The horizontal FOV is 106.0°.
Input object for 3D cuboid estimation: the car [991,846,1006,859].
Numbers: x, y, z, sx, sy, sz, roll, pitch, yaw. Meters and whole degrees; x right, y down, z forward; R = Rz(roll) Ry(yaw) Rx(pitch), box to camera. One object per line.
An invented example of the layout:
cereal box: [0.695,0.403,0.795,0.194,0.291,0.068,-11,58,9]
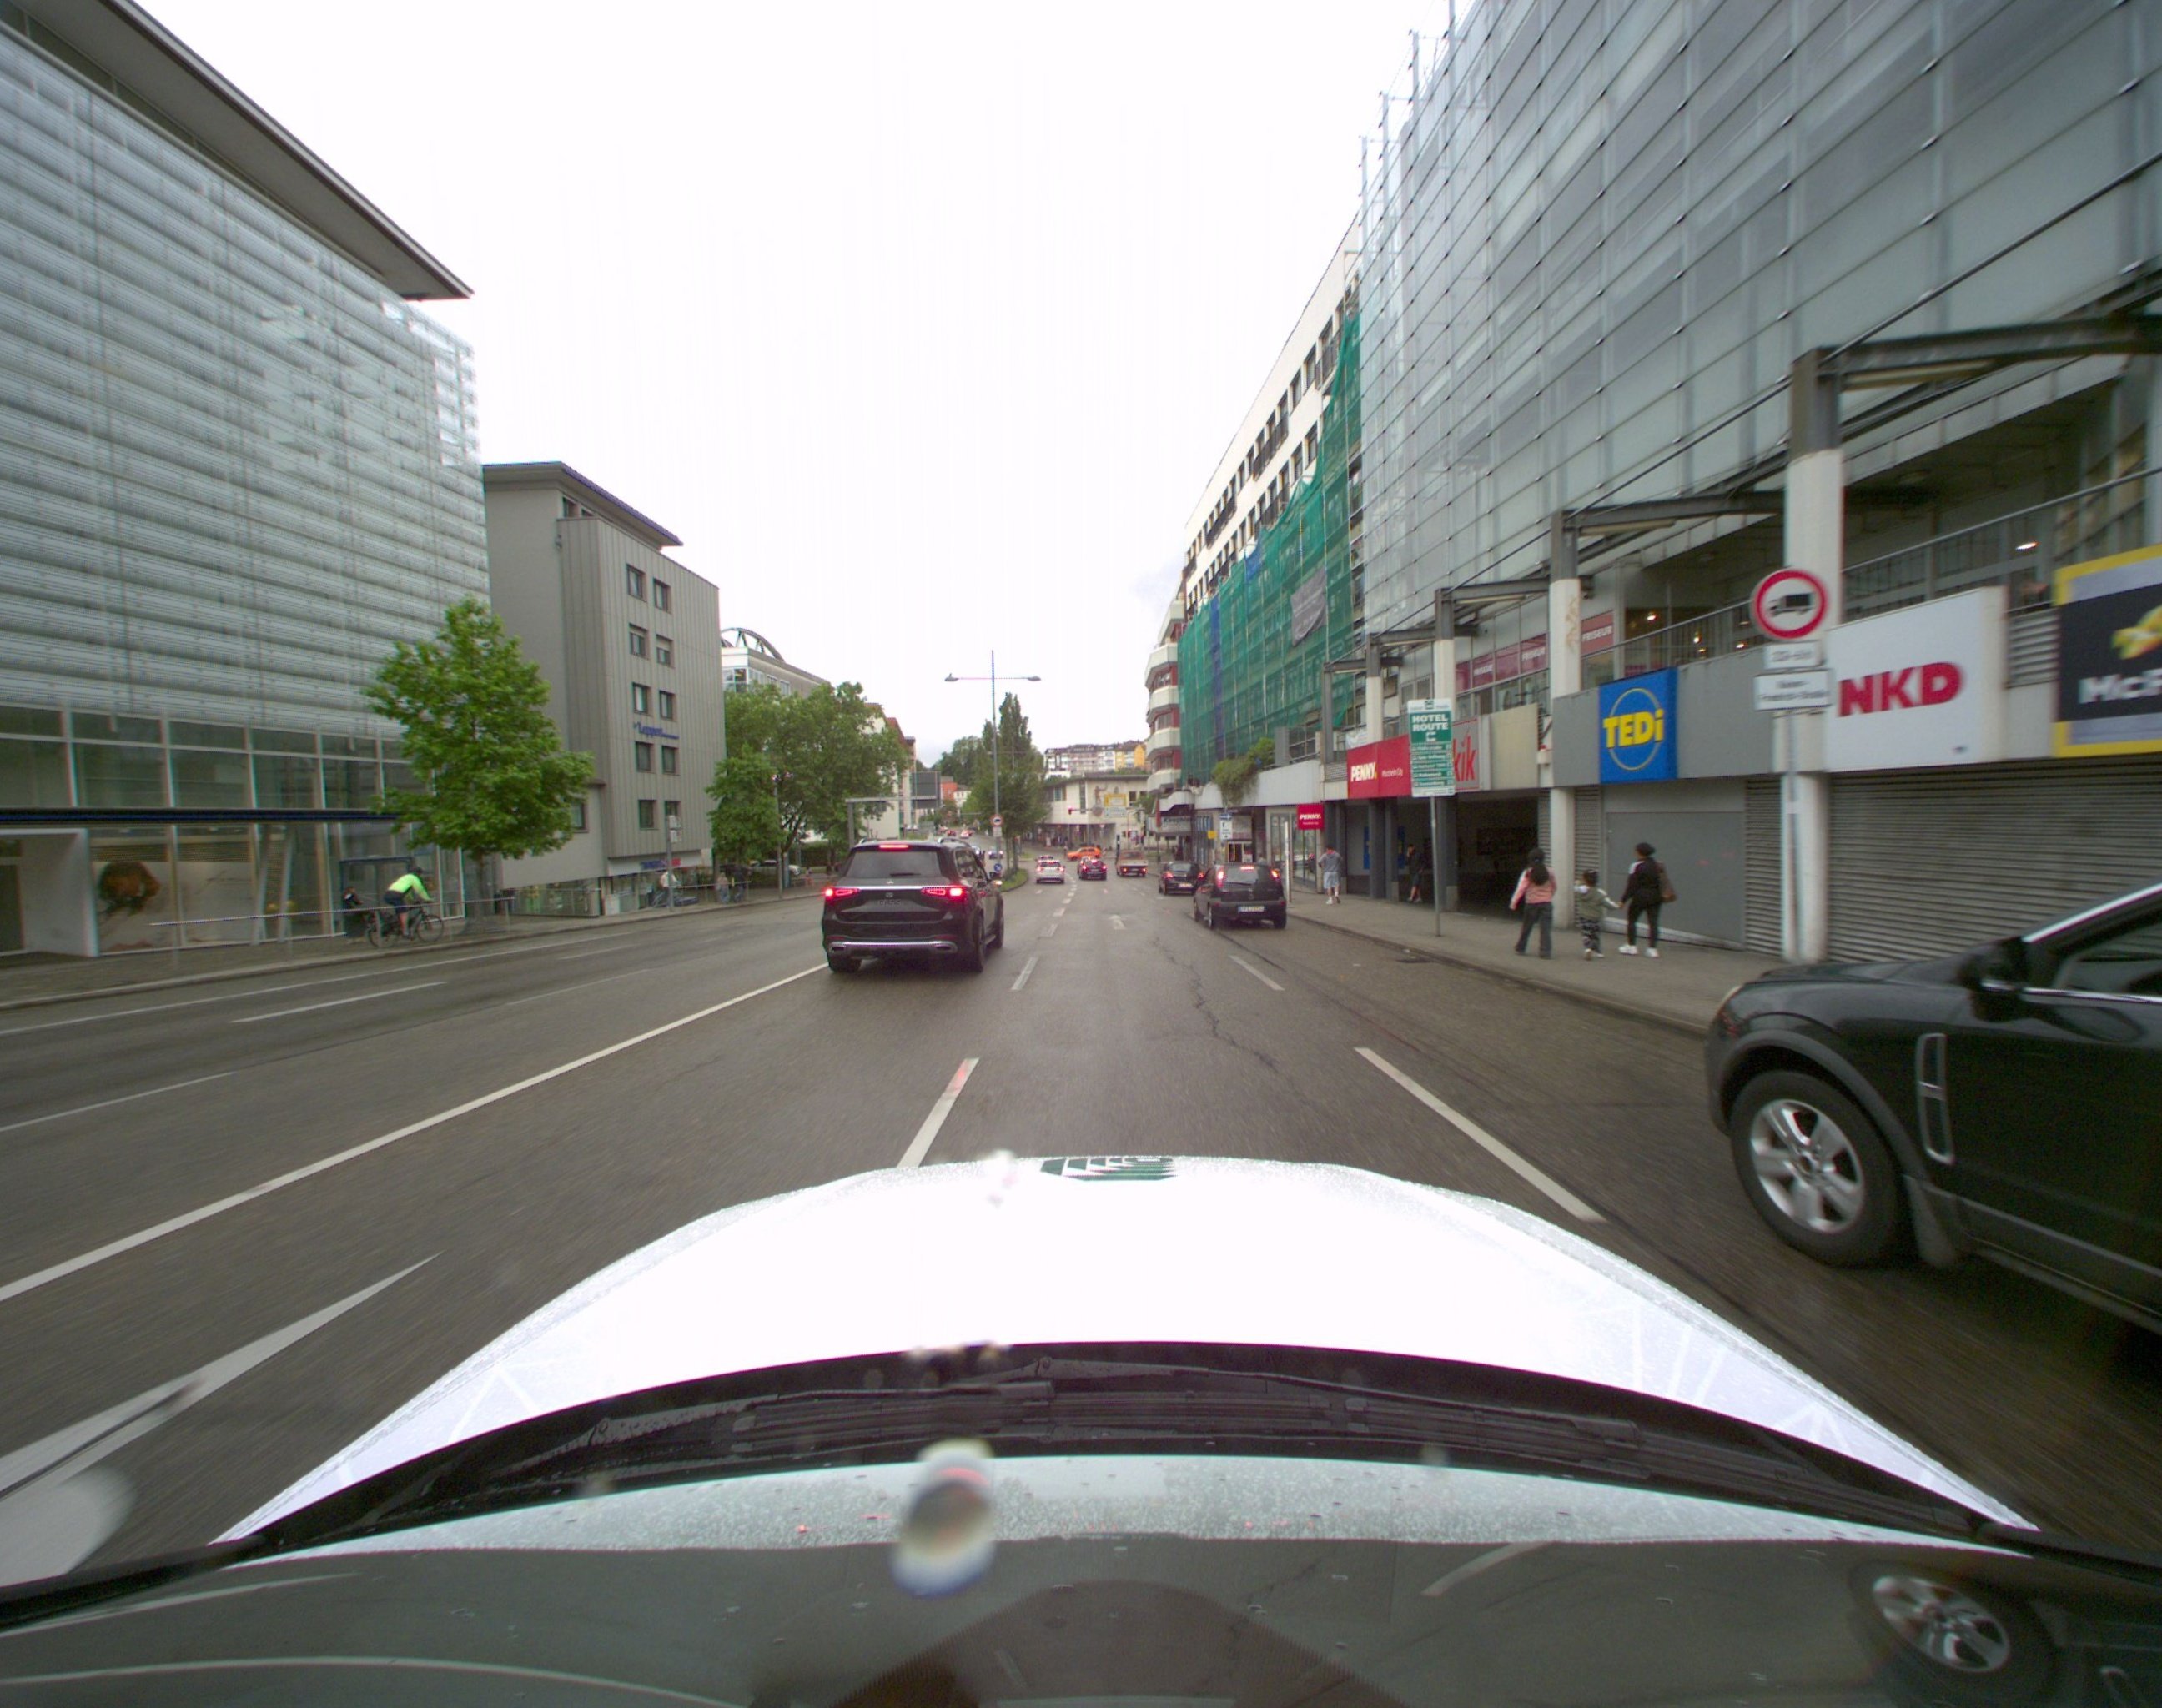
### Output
car: [-10.293,-0.172,101.784,1.817,1.549,3.993,-2,0,-5]

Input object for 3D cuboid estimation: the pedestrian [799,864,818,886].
pedestrian: [-22.379,1.732,66.938,0.940,1.722,1.021,-3,2,26]

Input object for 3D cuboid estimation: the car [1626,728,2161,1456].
car: [3.573,0.559,1.793,1.900,1.785,4.303,-2,1,1]

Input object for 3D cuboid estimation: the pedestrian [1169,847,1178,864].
pedestrian: [9.202,0.134,80.947,0.576,1.699,0.648,-3,0,-11]

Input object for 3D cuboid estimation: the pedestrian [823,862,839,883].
pedestrian: [-21.267,1.535,69.403,0.941,1.722,0.764,-3,0,20]

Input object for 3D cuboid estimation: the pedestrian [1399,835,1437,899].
pedestrian: [9.391,0.355,22.729,0.666,1.715,0.819,-3,0,3]

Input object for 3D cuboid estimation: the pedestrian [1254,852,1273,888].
pedestrian: [8.695,0.754,38.786,0.635,1.650,0.566,-4,-1,41]

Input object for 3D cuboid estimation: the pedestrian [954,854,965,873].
pedestrian: [-11.448,0.864,76.593,0.833,1.722,0.818,-3,0,-1]

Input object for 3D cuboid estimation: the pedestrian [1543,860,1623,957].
pedestrian: [6.597,0.707,10.725,0.686,1.207,0.555,-3,0,8]

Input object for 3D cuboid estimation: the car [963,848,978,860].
car: [-13.650,-0.033,100.725,1.705,1.451,3.850,-2,0,-8]

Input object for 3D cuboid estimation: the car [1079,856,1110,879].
car: [0.931,0.928,57.682,1.809,1.441,3.994,0,1,-5]

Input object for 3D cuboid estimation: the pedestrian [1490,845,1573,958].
pedestrian: [6.090,0.625,11.040,0.742,1.437,0.598,-4,0,8]

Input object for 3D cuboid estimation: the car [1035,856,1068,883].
car: [-1.804,0.968,51.428,1.944,1.574,3.999,-1,0,-1]

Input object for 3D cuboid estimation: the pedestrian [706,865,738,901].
pedestrian: [-18.340,1.479,41.610,0.968,1.722,1.092,-3,0,6]

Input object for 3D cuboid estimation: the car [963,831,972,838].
car: [-27.913,-4.825,200.429,1.835,1.588,3.854,-2,0,-15]

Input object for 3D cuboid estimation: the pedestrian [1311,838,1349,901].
pedestrian: [7.097,0.439,23.231,0.831,1.722,0.831,-3,0,8]

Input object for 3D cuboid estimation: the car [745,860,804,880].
car: [-29.104,1.503,77.464,5.077,1.759,1.991,0,0,-13]

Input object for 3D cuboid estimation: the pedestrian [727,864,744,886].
pedestrian: [-27.805,1.705,65.567,0.752,1.722,0.955,-3,0,12]

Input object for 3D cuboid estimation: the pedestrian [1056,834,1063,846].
pedestrian: [-3.410,-2.228,127.731,0.848,1.802,1.051,-3,0,-15]

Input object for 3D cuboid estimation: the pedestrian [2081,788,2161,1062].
pedestrian: [7.181,0.428,5.157,0.831,1.722,0.619,-3,0,7]

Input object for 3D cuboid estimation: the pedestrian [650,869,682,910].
pedestrian: [-18.586,1.580,36.494,0.995,1.722,1.033,-3,0,-16]

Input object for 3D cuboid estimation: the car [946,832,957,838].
car: [-32.514,-4.799,204.673,1.757,1.554,3.541,-2,0,-24]

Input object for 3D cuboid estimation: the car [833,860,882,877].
car: [-22.344,1.393,81.515,4.691,1.643,1.777,0,0,-16]

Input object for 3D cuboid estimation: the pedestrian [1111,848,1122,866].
pedestrian: [3.463,0.300,79.334,1.006,1.722,0.839,-3,0,4]

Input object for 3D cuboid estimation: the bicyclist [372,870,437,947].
bicyclist: [-17.019,1.352,20.507,0.664,1.830,0.994,-3,-1,13]

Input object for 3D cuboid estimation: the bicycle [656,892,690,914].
bicycle: [-23.328,2.805,46.648,0.610,1.087,2.669,-1,0,-1]

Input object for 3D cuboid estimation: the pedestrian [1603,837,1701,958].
pedestrian: [7.253,0.534,10.382,0.767,1.467,0.706,-3,0,13]

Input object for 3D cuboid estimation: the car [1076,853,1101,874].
car: [0.593,0.775,67.165,1.757,1.542,3.995,-1,1,-4]

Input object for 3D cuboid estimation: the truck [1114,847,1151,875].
truck: [3.973,0.525,63.704,2.179,2.082,5.595,-2,0,-4]

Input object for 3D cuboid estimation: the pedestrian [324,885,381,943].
pedestrian: [-19.456,1.594,21.766,0.648,1.456,0.846,-3,0,6]

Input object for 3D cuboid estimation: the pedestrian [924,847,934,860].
pedestrian: [-19.339,-0.048,103.669,0.931,1.608,0.557,-3,0,-42]

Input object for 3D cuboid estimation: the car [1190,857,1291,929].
car: [3.523,0.818,18.613,1.710,1.420,3.772,-2,0,2]

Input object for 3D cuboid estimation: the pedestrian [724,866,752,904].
pedestrian: [-16.192,1.436,38.462,0.815,1.713,1.310,-3,0,-7]

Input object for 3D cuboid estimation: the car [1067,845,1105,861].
car: [0.560,-0.119,91.812,3.999,1.616,1.768,-1,0,-12]

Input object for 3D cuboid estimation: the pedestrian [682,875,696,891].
pedestrian: [-31.959,2.361,66.464,0.954,1.272,0.753,-3,0,-27]

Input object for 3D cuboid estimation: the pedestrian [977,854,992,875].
pedestrian: [-8.883,0.937,75.023,1.058,1.882,0.840,-3,0,5]

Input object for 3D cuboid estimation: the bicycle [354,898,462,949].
bicycle: [-16.975,1.735,20.615,0.673,1.099,2.078,-3,-1,13]

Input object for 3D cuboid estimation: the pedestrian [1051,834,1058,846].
pedestrian: [-4.128,-2.208,128.655,0.800,1.802,0.913,-3,0,-15]

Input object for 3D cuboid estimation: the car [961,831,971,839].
car: [-25.952,-4.289,183.881,1.996,1.596,3.981,-2,0,-14]

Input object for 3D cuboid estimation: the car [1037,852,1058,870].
car: [-2.981,0.625,71.556,1.790,1.468,3.995,-1,0,-4]

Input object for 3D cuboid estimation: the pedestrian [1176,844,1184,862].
pedestrian: [9.869,-0.085,81.054,0.577,1.699,0.647,-3,0,-15]

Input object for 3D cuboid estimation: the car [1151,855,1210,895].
car: [4.232,0.862,35.213,1.944,1.574,3.998,-1,0,-1]

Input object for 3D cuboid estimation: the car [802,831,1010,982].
car: [-2.330,0.631,12.297,2.081,1.817,4.792,0,0,0]

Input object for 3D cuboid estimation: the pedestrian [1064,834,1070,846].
pedestrian: [-2.213,-2.247,128.388,0.704,1.802,0.934,-3,0,-15]
